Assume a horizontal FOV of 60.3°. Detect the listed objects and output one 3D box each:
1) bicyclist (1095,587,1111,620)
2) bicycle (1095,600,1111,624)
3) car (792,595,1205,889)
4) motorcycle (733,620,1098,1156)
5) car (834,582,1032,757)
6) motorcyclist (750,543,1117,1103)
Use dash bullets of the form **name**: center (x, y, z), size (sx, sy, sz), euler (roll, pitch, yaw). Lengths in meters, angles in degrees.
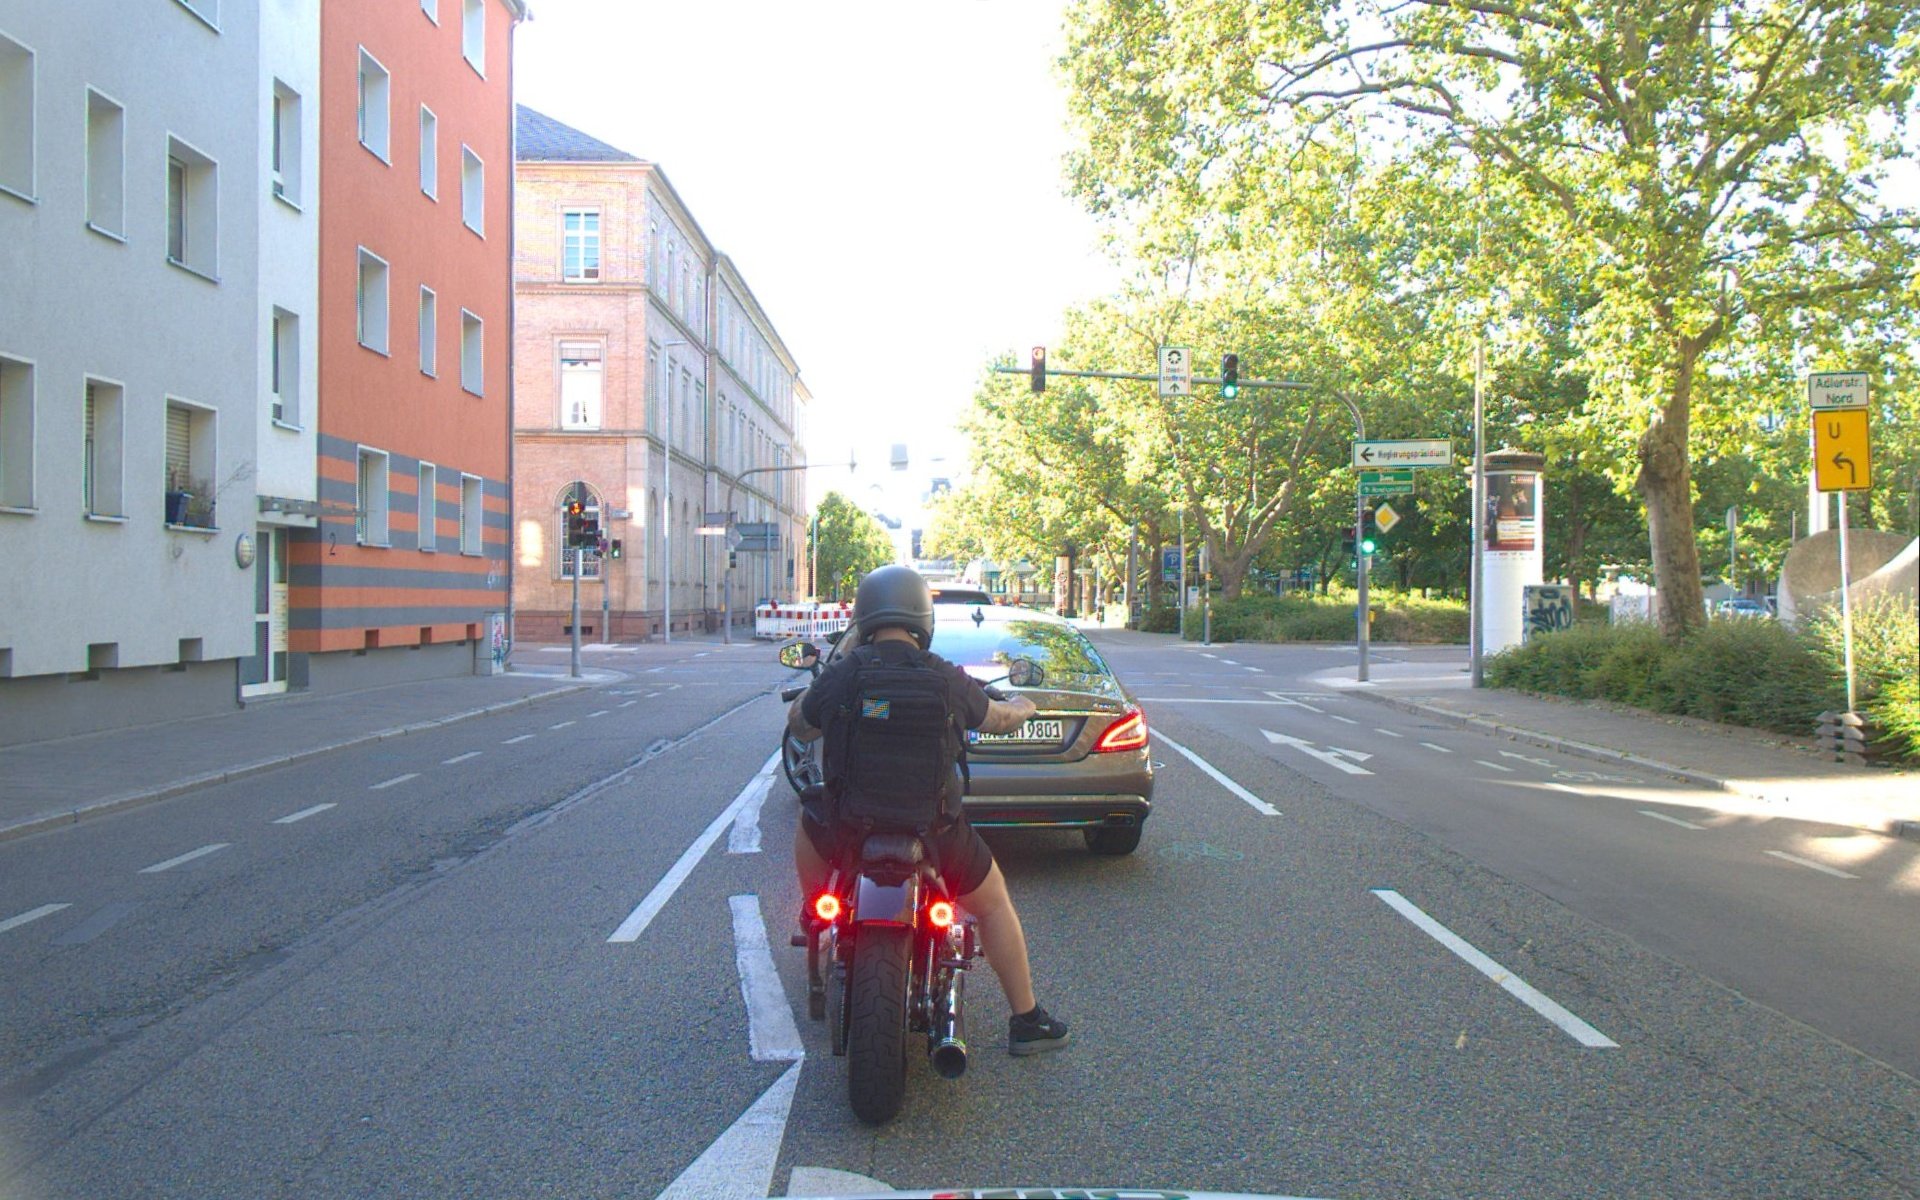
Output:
- **bicyclist**: center (7.114, 0.185, 82.337), size (0.701, 1.610, 0.936), euler (1, 0, 3)
- **bicycle**: center (7.103, 0.585, 82.404), size (0.701, 1.193, 2.177), euler (1, 0, 3)
- **car**: center (0.004, 0.704, 10.566), size (1.867, 1.466, 4.279), euler (0, 0, -10)
- **motorcycle**: center (-0.131, 0.776, 5.531), size (0.942, 1.380, 2.319), euler (1, 0, -1)
- **car**: center (-0.346, 0.610, 16.761), size (1.777, 1.563, 3.846), euler (0, 0, -3)
- **motorcyclist**: center (-0.081, 0.651, 5.262), size (1.039, 1.610, 0.908), euler (1, 0, -1)
